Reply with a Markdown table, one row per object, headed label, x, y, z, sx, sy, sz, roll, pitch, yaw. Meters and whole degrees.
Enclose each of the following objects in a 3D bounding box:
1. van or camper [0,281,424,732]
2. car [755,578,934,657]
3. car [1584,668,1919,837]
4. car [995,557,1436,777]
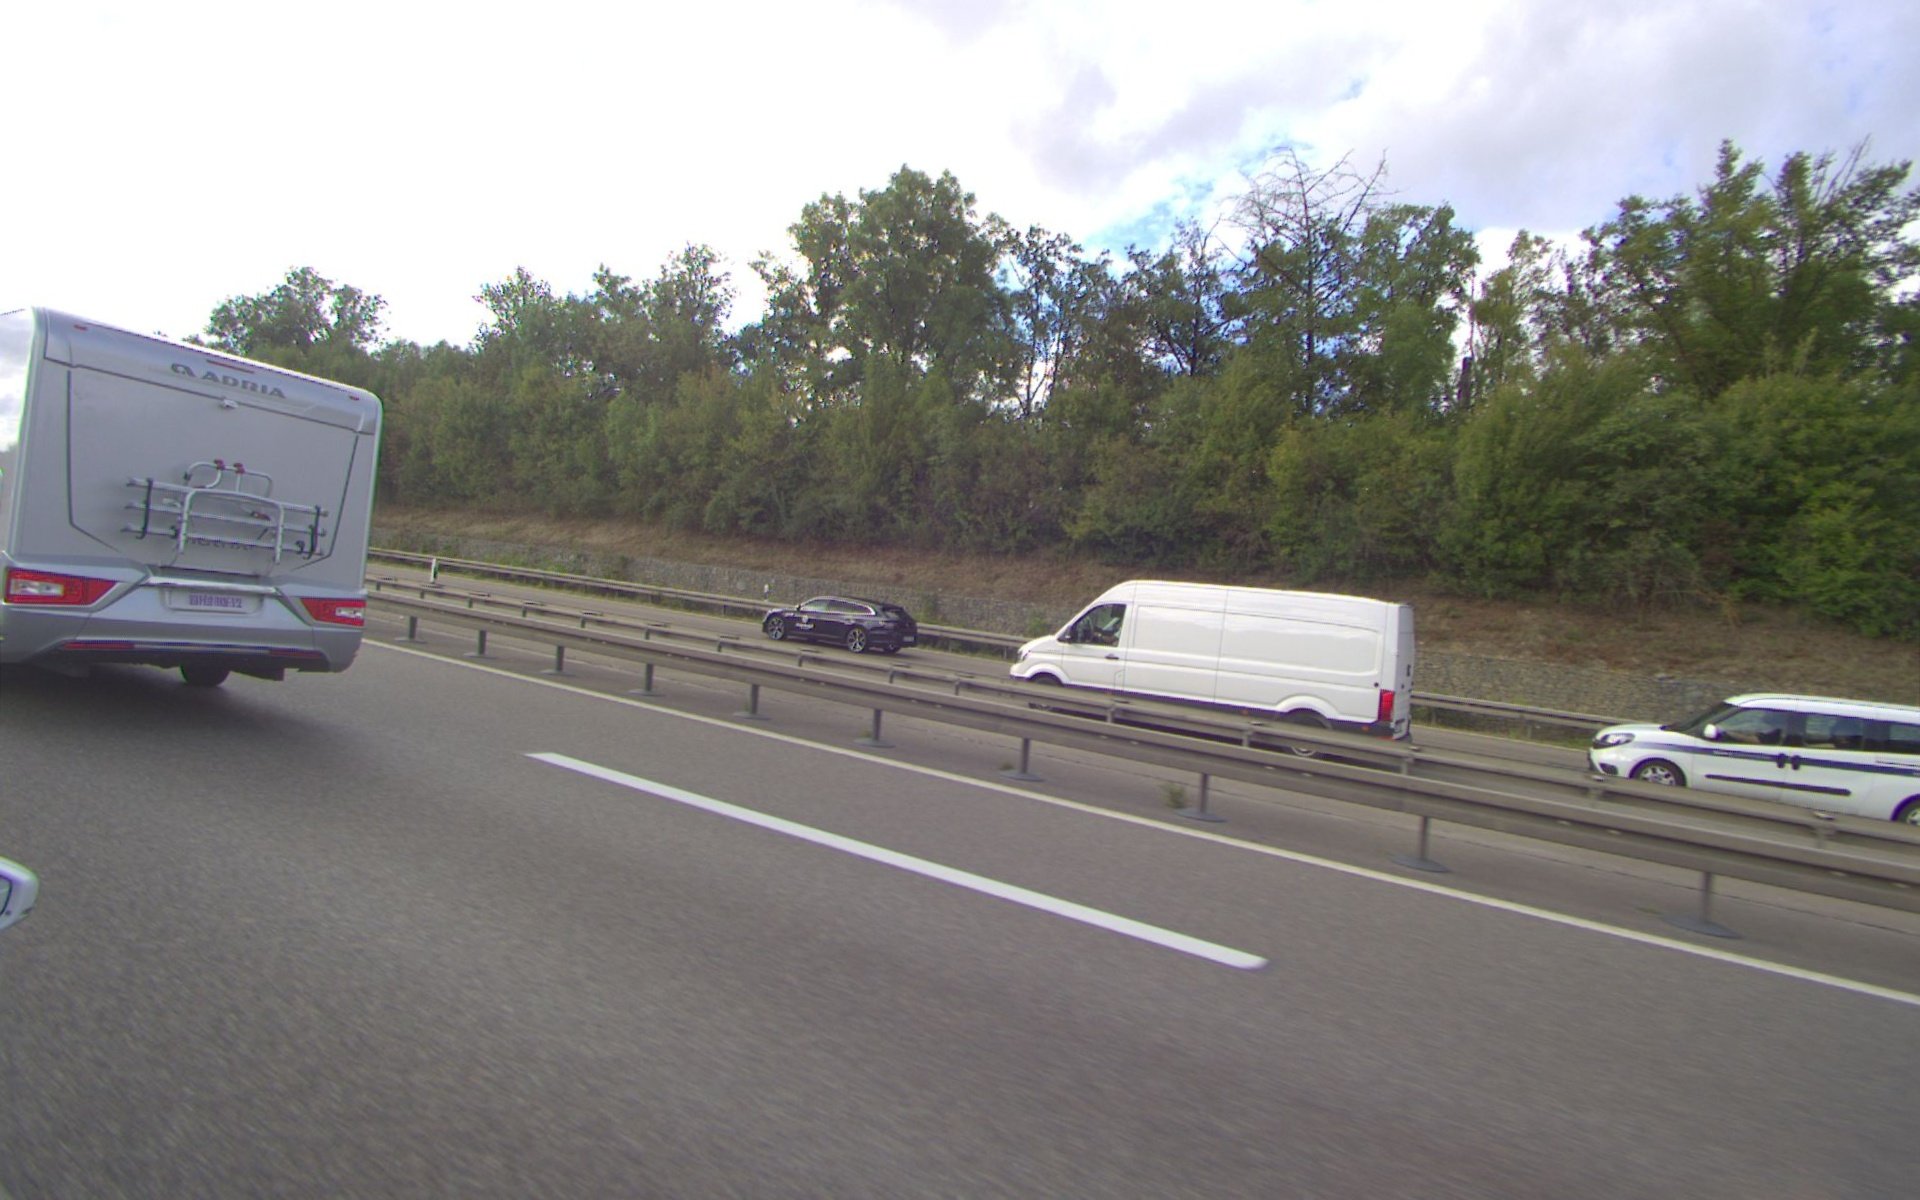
| label | x | y | z | sx | sy | sz | roll | pitch | yaw |
| --- | --- | --- | --- | --- | --- | --- | --- | --- | --- |
| van or camper | -8.357 | -0.828 | 9.124 | 7.534 | 2.754 | 2.473 | 7 | -1 | 32 |
| car | -3.252 | 0.465 | 27.945 | 4.684 | 1.623 | 1.844 | 7 | 2 | 31 |
| car | 12.282 | 2.251 | 15.181 | 4.685 | 1.773 | 1.846 | 7 | -1 | 32 |
| car | 4.102 | 0.954 | 16.881 | 6.629 | 2.586 | 2.072 | 7 | 1 | 31 |
